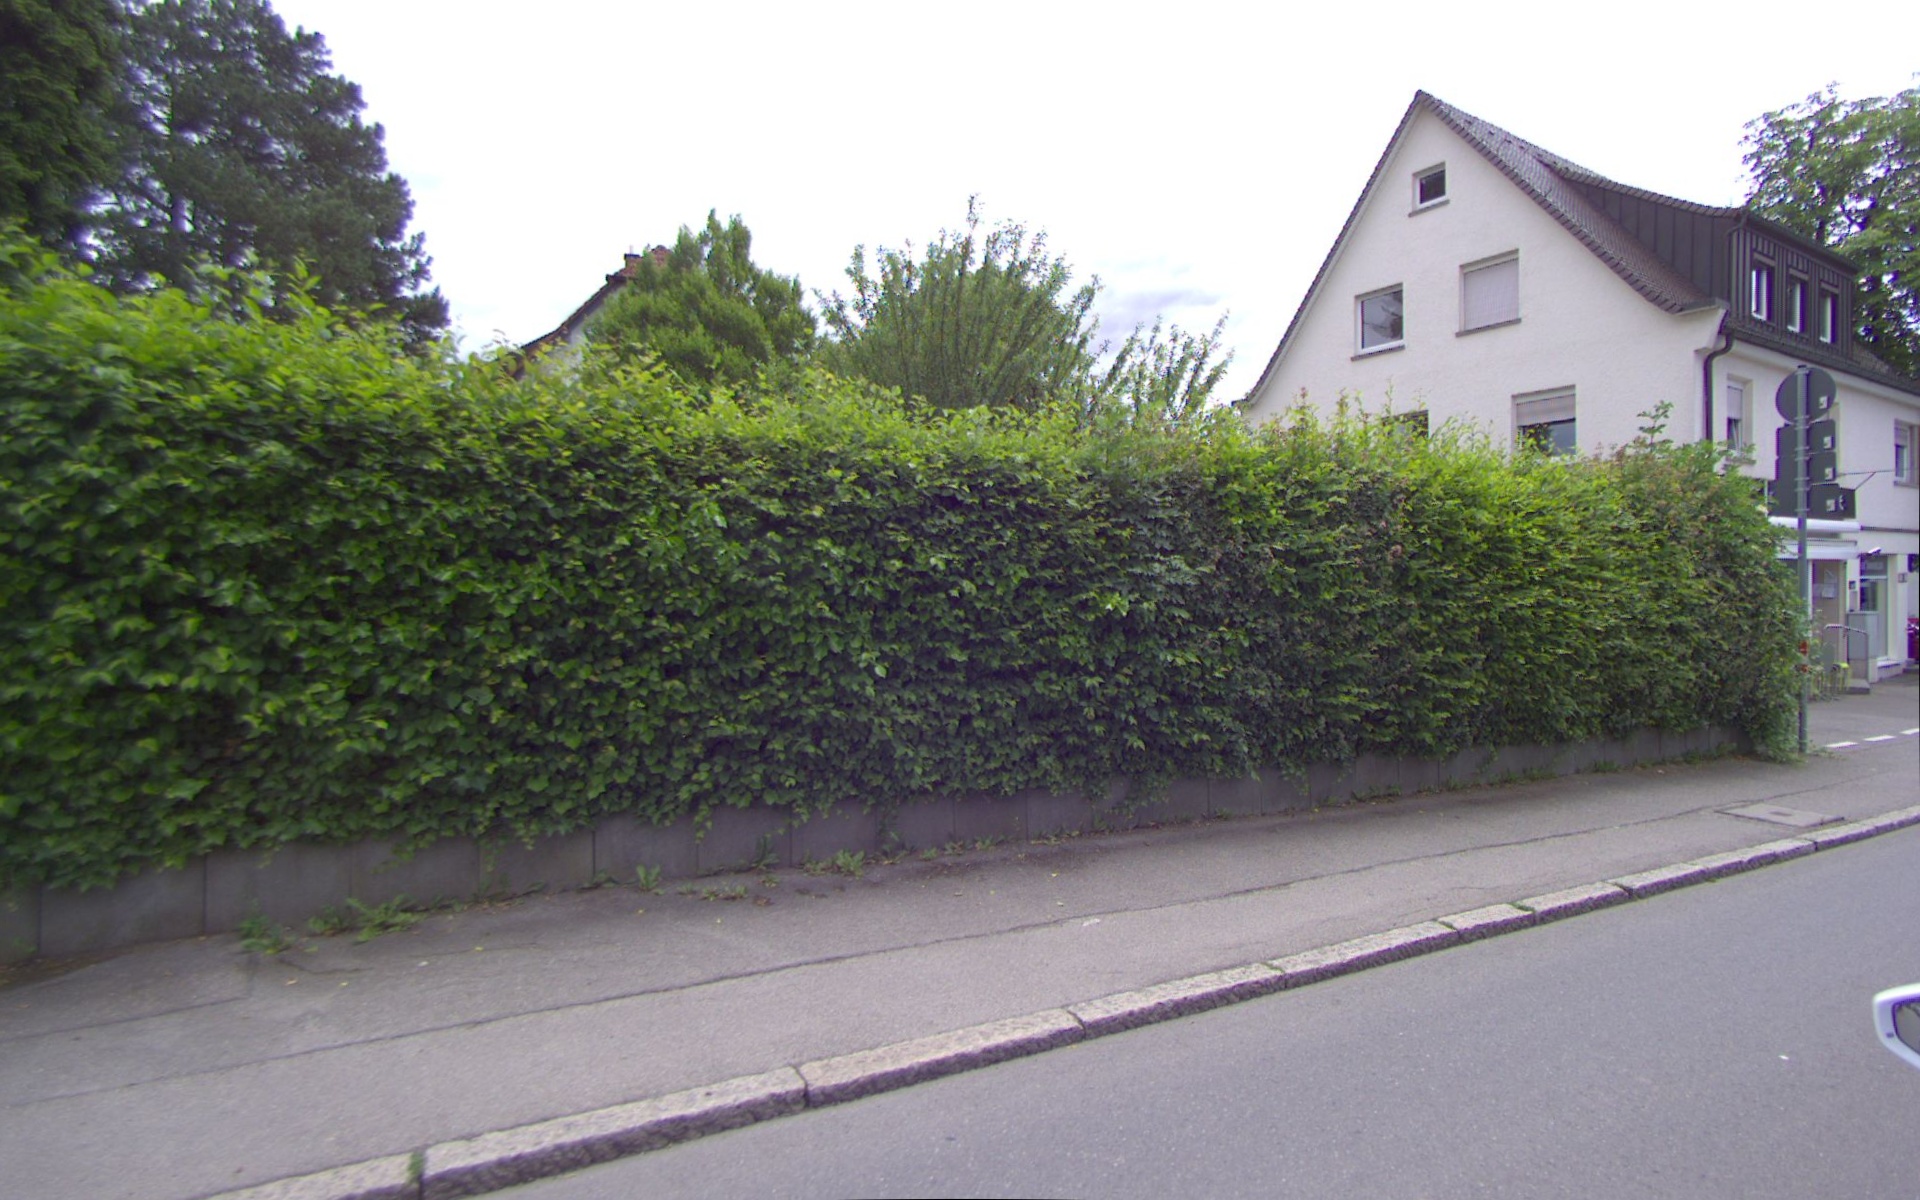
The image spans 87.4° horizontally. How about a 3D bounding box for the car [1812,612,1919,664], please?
[{"bbox_3d":[29.902,1.192,31.912,1.782,1.451,4.229,-3,0,-6],"label":"car"}]
